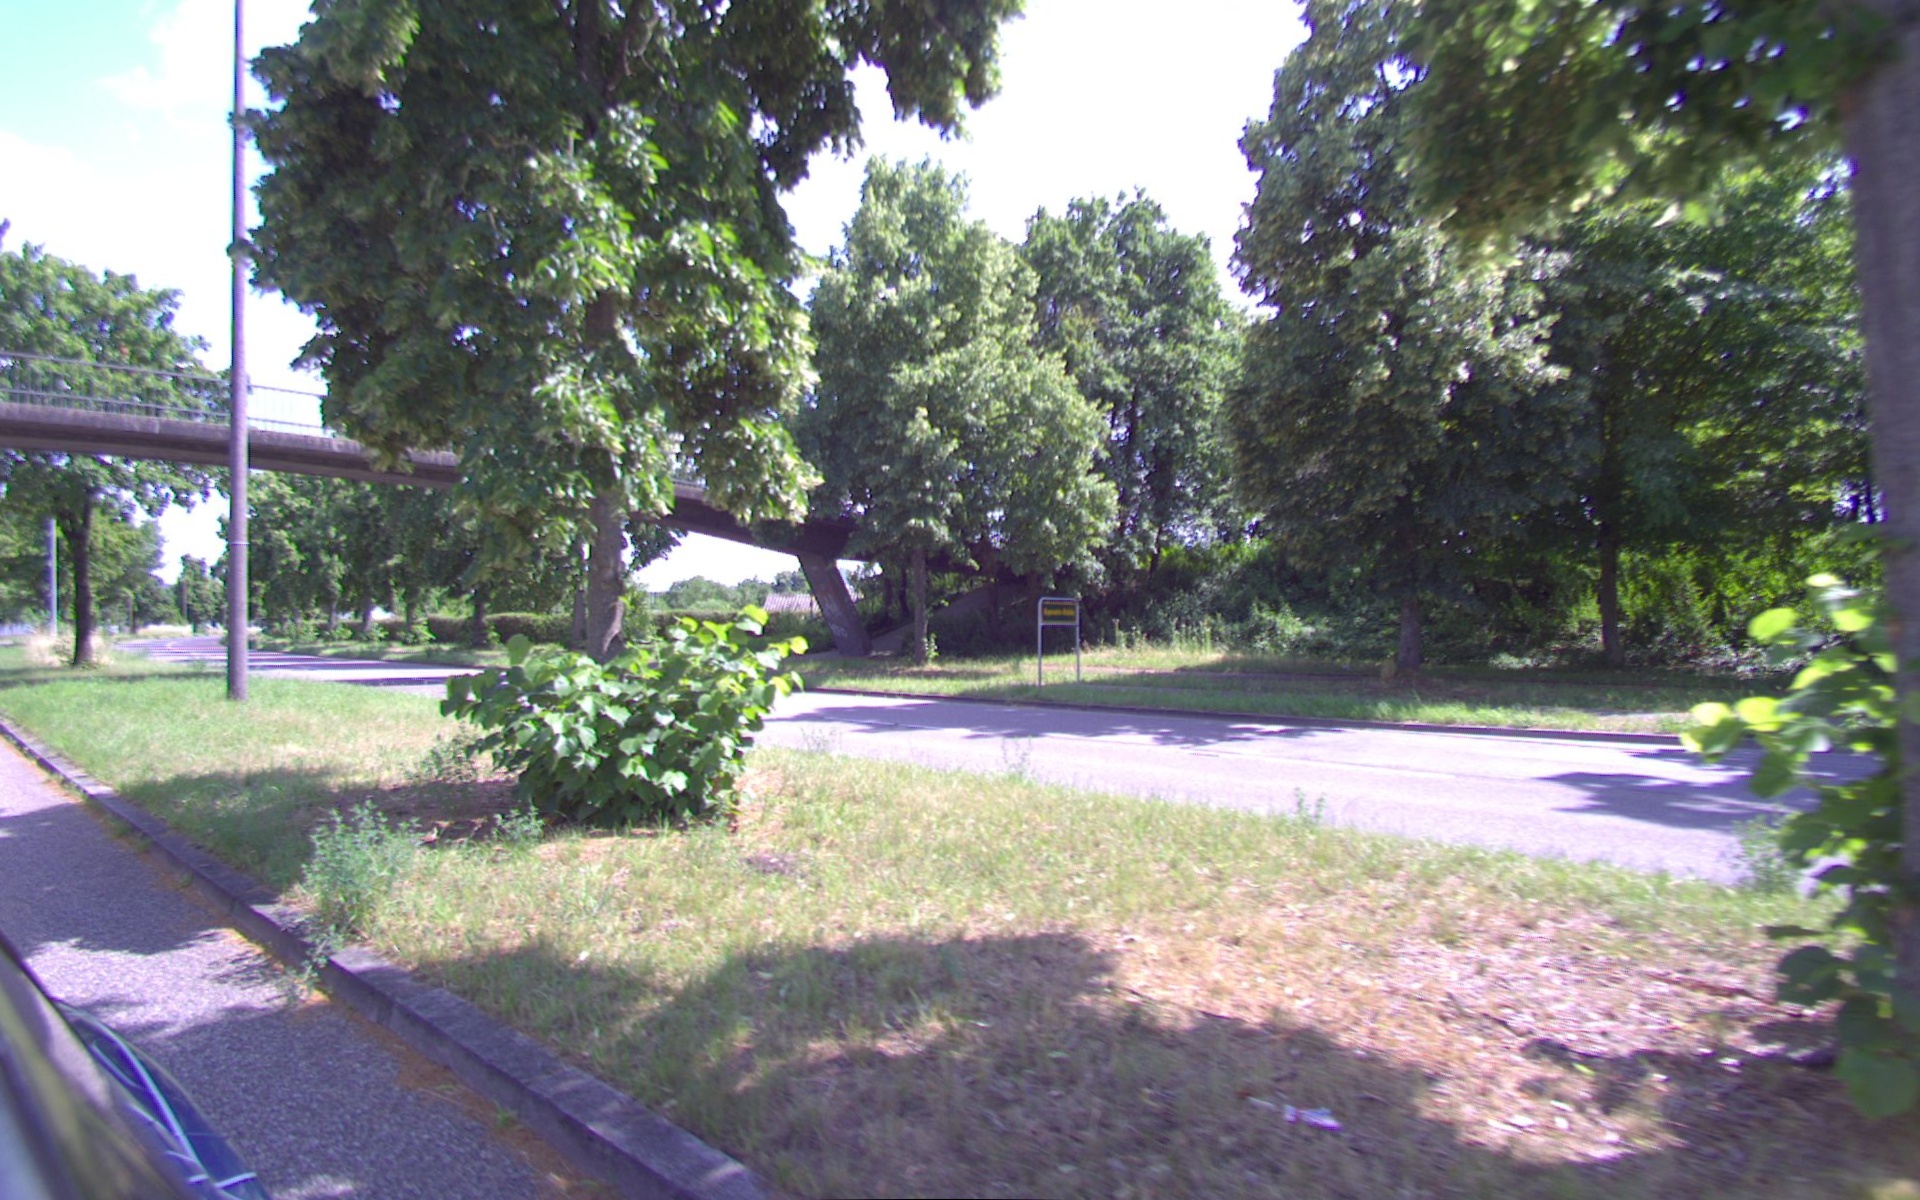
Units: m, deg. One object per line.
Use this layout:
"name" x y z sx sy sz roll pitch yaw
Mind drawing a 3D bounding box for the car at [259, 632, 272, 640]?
"car" -135.367 6.980 197.247 1.712 1.598 4.124 2 -3 -31
